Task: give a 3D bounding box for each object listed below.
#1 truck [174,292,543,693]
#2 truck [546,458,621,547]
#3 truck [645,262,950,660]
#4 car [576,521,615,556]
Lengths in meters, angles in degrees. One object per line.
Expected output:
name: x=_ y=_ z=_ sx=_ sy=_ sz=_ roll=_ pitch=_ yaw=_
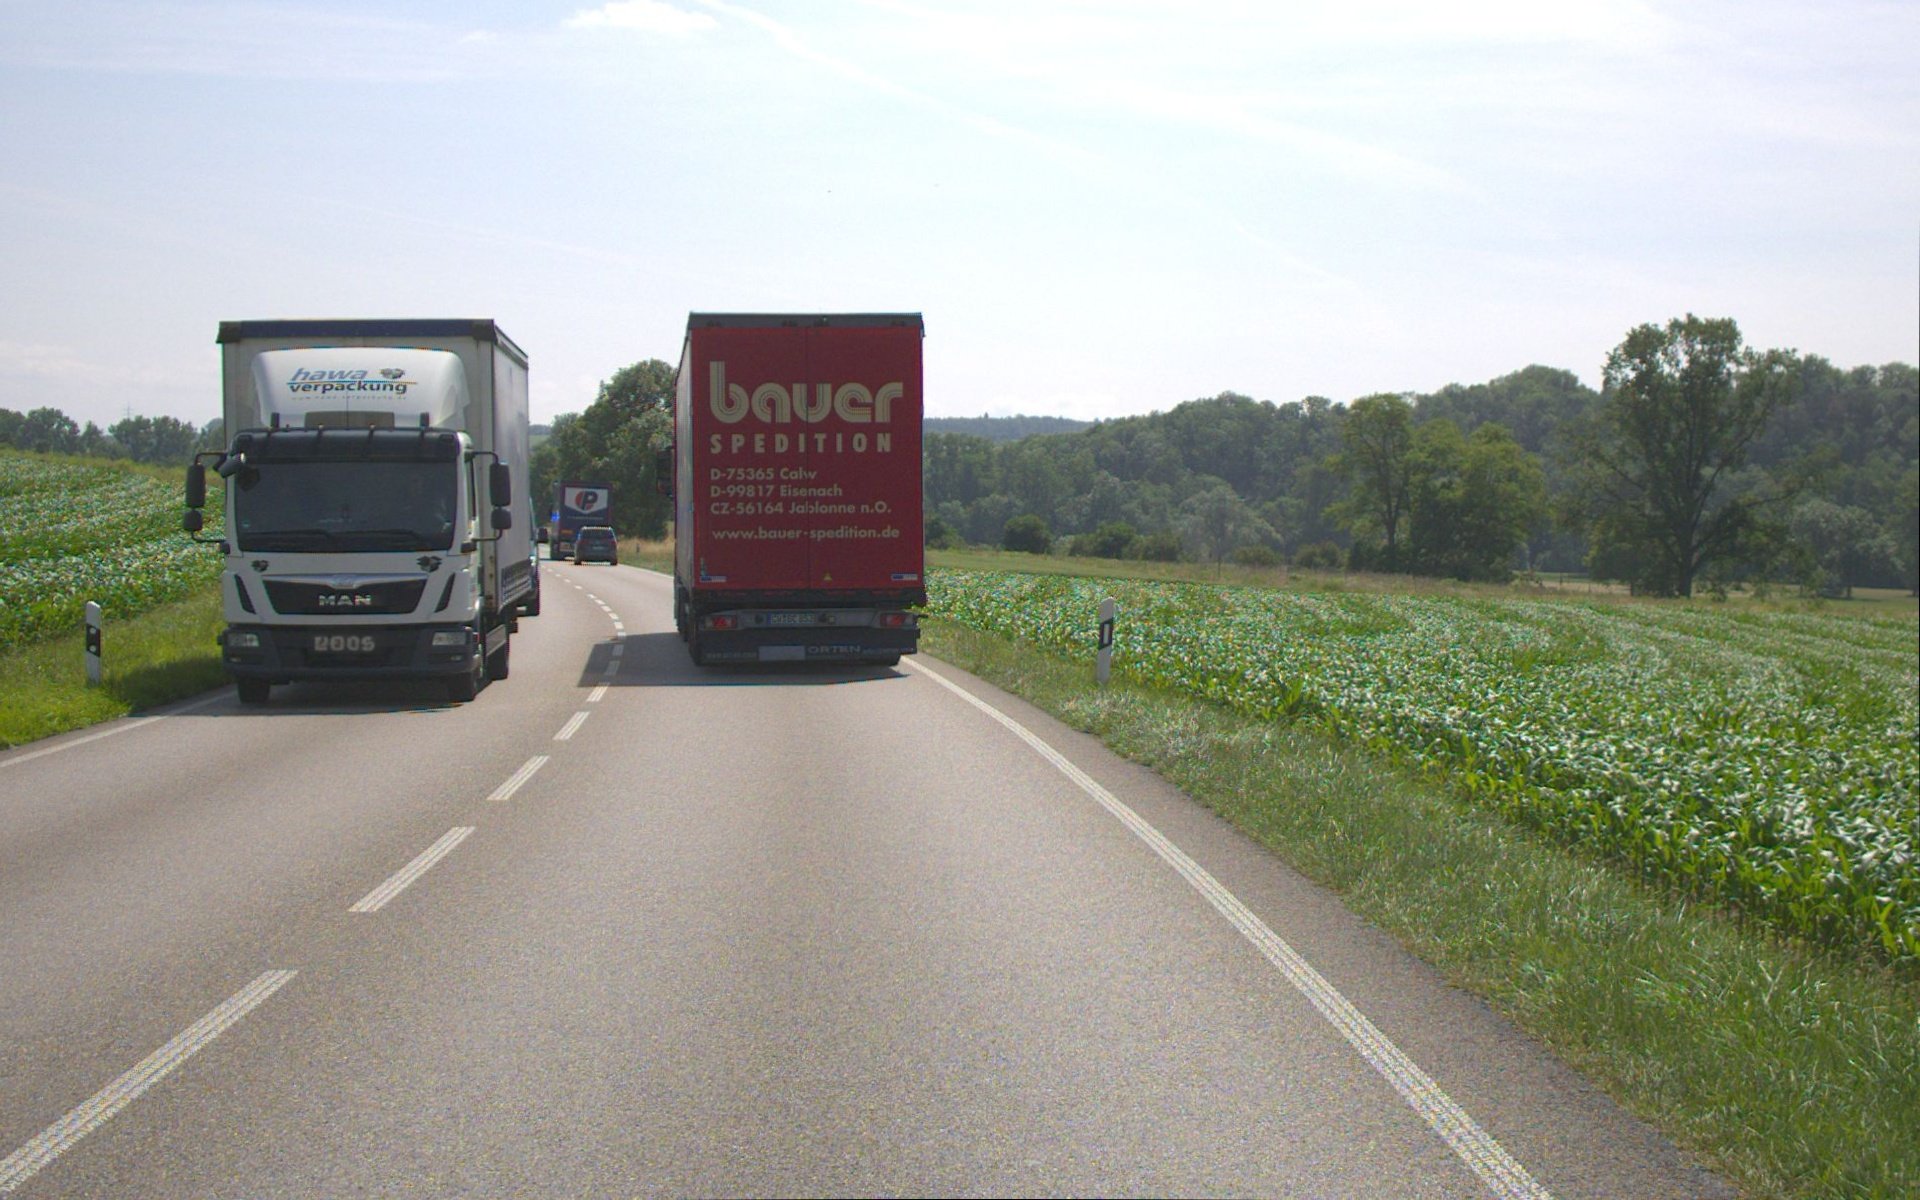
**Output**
truck: x=-5.942 y=-1.050 z=35.483 sx=2.741 sy=3.566 sz=9.728 roll=0 pitch=1 yaw=-4
truck: x=-19.125 y=-4.876 z=174.886 sx=3.639 sy=4.277 sz=11.988 roll=0 pitch=0 yaw=-6
truck: x=-2.116 y=-1.535 z=41.010 sx=3.094 sy=4.248 sz=8.316 roll=0 pitch=1 yaw=-6
car: x=-15.760 y=-2.666 z=148.495 sx=1.581 sy=1.496 sz=3.877 roll=0 pitch=1 yaw=-8
